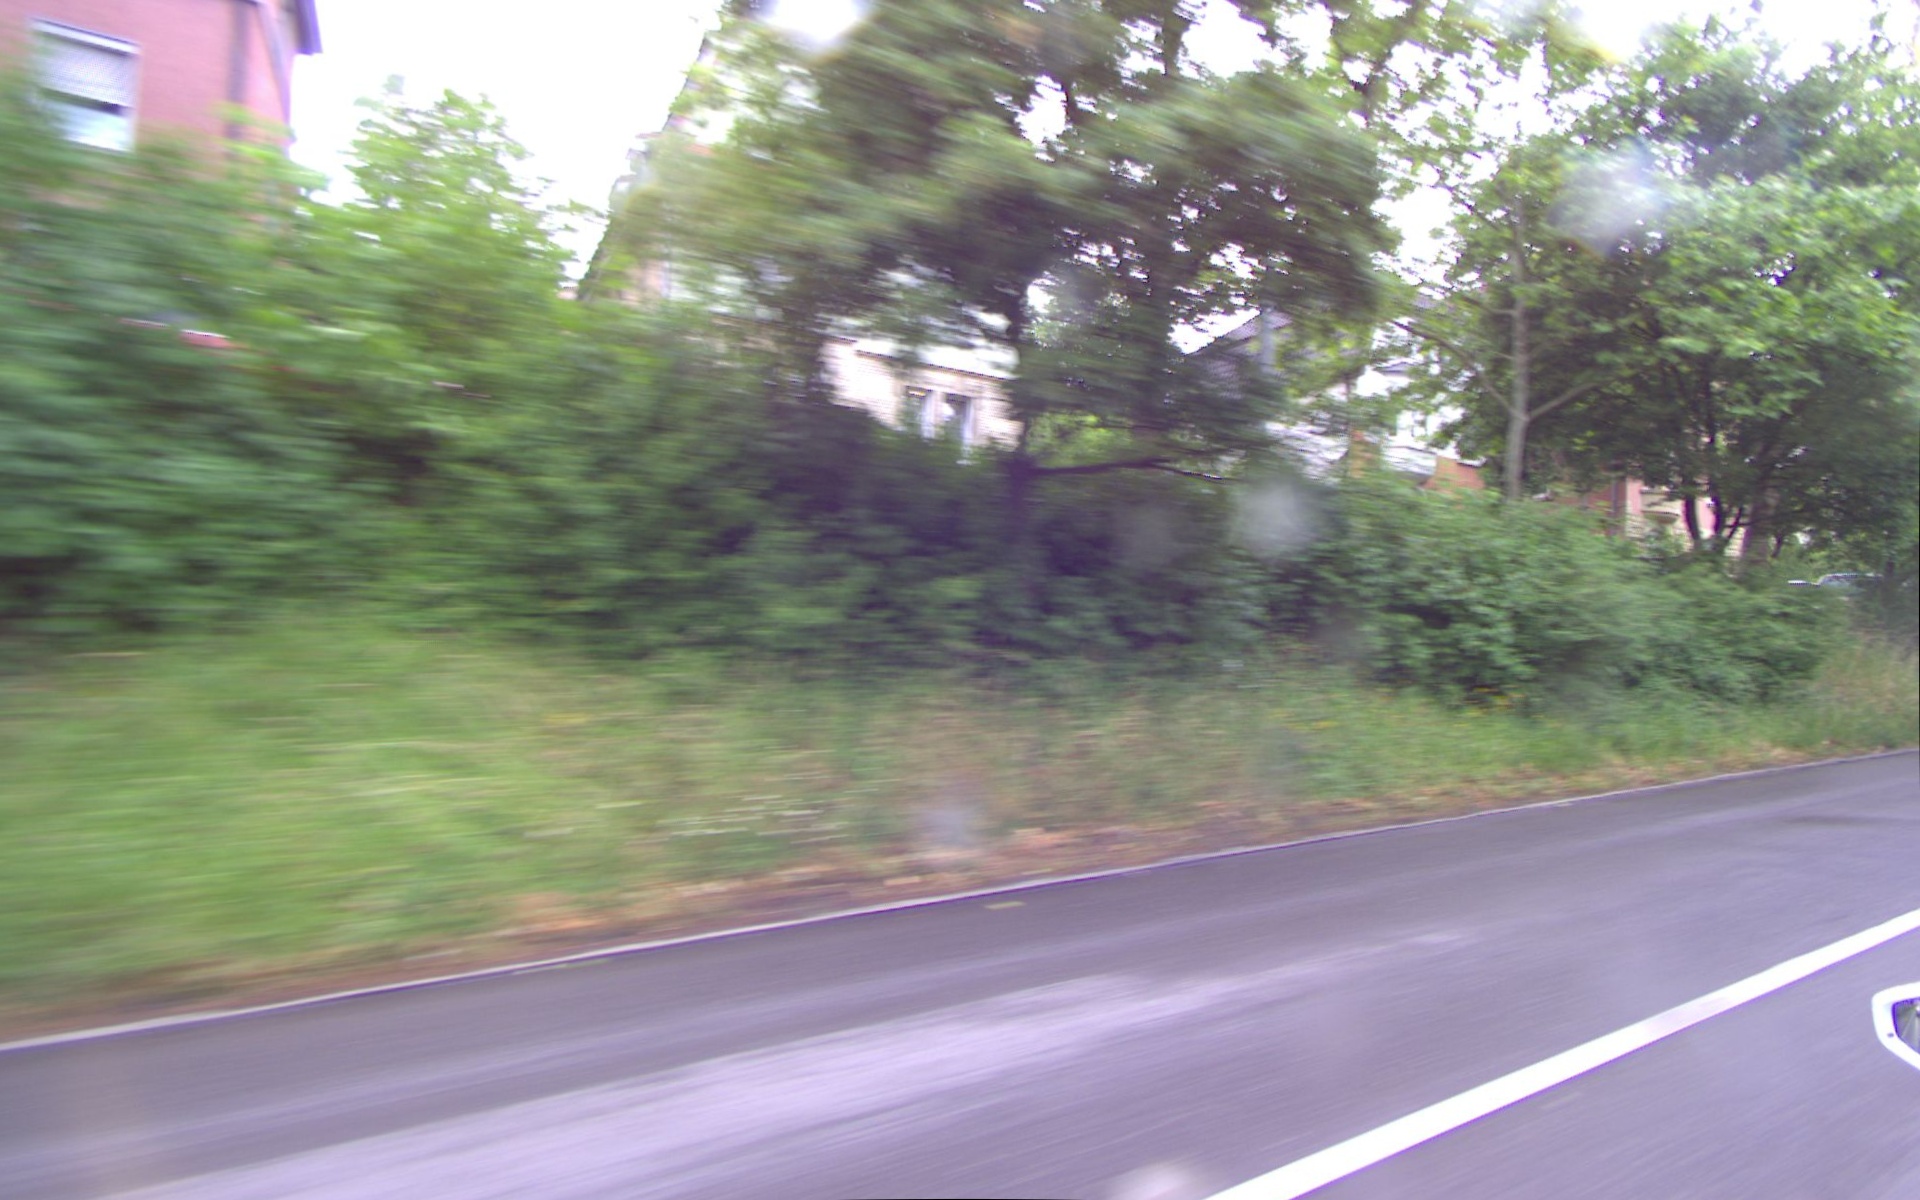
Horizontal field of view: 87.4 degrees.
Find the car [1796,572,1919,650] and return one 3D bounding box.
[{"bbox_3d":[25.815,0.325,28.267,4.571,2.040,1.985,2,0,-29],"label":"car"}]
